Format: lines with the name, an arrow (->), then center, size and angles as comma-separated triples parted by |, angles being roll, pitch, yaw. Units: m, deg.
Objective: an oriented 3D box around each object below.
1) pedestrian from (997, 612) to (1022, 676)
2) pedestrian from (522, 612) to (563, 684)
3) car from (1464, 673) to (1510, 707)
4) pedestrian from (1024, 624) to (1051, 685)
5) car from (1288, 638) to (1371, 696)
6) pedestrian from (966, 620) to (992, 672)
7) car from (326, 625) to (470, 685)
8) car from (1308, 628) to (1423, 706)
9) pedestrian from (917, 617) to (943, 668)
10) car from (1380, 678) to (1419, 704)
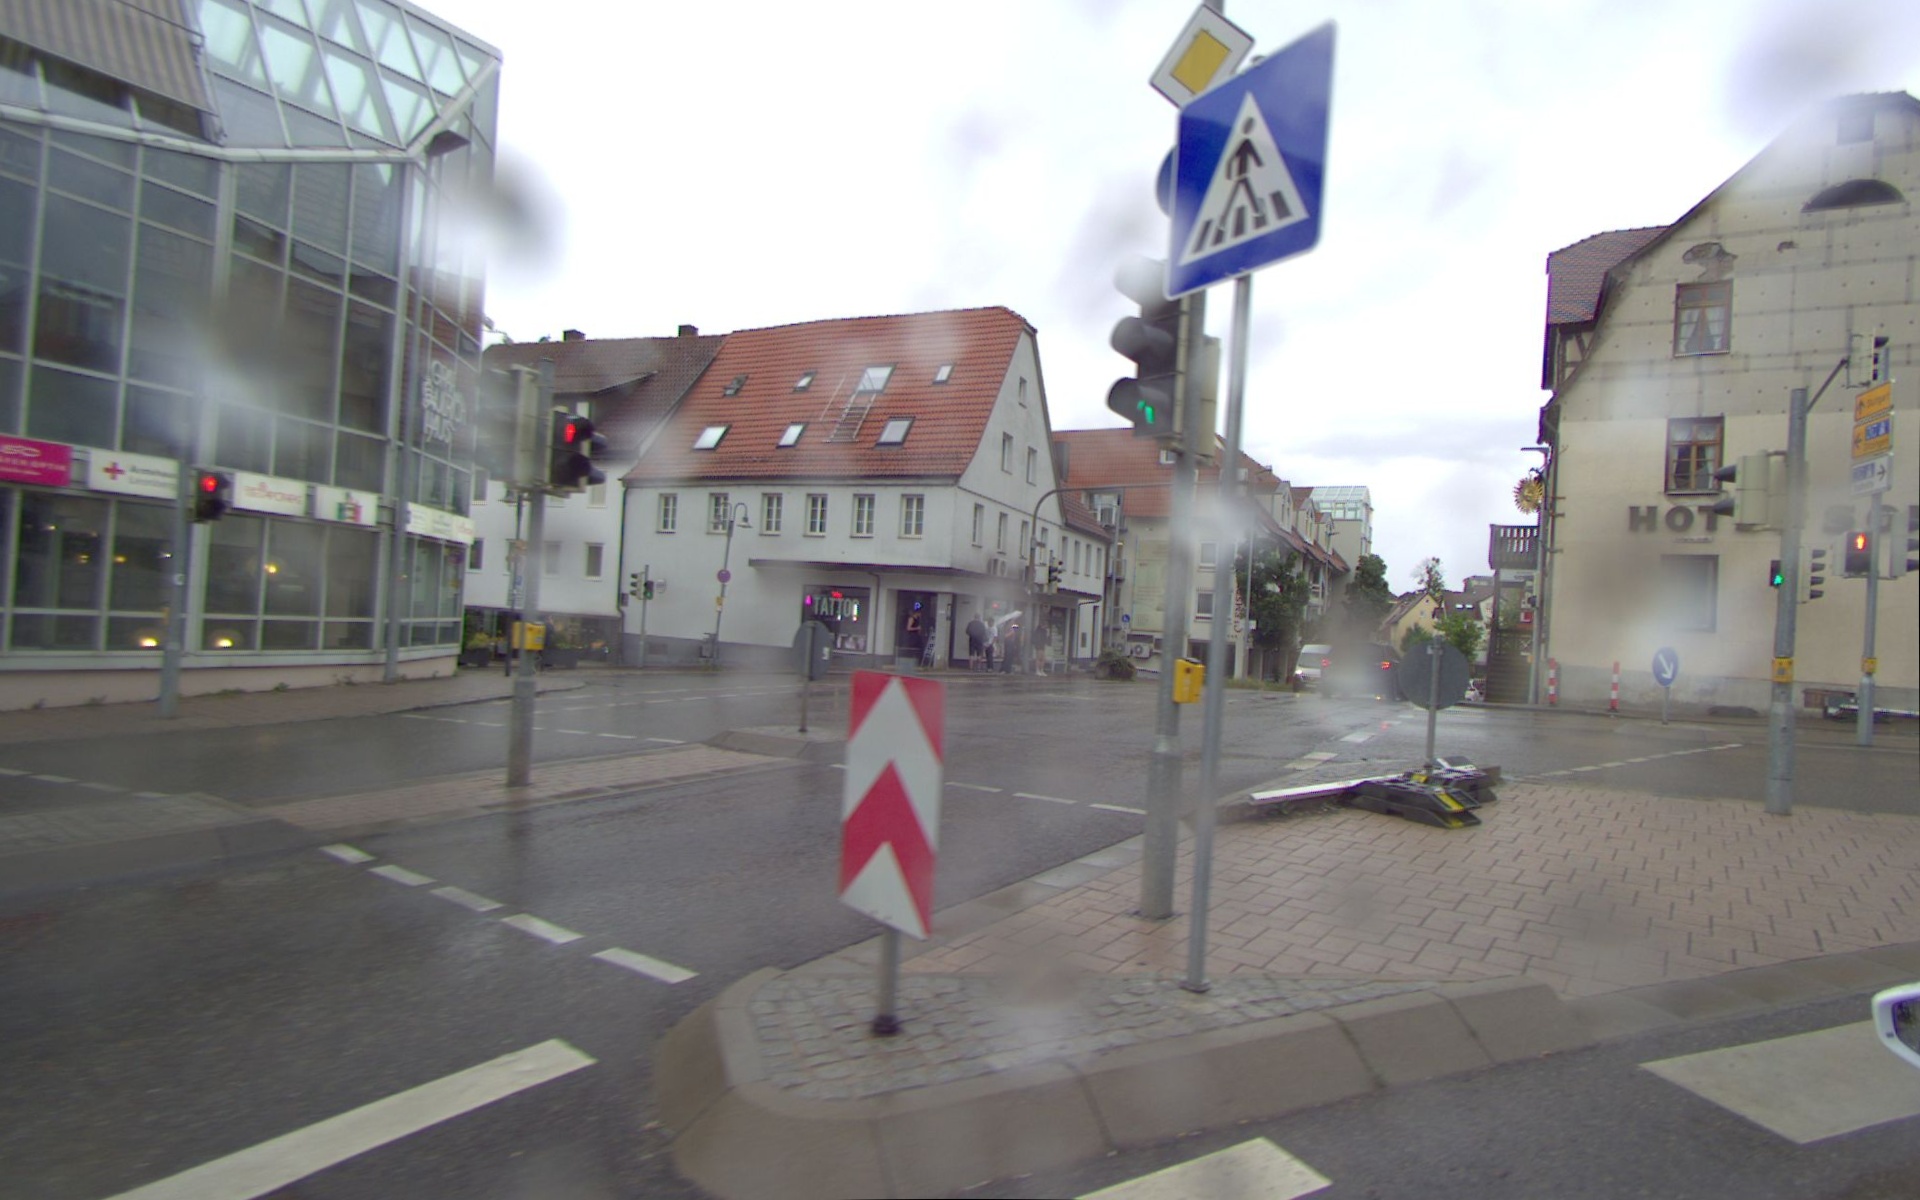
pedestrian -> 1.498, 1.307, 30.288 | 0.526, 1.896, 0.634 | 0, -1, 25
pedestrian -> -11.654, 1.315, 28.034 | 0.972, 1.964, 0.778 | 1, 0, -30
car -> 30.117, 5.098, 57.332 | 1.861, 1.487, 3.987 | 0, 1, 34
pedestrian -> 2.469, 1.732, 31.986 | 0.593, 1.892, 0.748 | 0, -1, 25
car -> 18.577, 3.245, 50.292 | 2.551, 2.661, 6.541 | 0, -2, 33
pedestrian -> 0.604, 1.423, 31.325 | 0.583, 1.580, 0.634 | 0, -1, 25
car -> -16.135, 1.536, 28.845 | 3.612, 1.527, 1.744 | 1, 0, 23
car -> 10.741, 1.669, 26.405 | 1.918, 1.588, 4.403 | 2, 3, 34
pedestrian -> -0.942, 1.342, 31.855 | 0.583, 1.580, 0.634 | 0, -1, 25
car -> 31.588, 6.503, 72.120 | 1.861, 1.487, 3.987 | 0, 1, 34
